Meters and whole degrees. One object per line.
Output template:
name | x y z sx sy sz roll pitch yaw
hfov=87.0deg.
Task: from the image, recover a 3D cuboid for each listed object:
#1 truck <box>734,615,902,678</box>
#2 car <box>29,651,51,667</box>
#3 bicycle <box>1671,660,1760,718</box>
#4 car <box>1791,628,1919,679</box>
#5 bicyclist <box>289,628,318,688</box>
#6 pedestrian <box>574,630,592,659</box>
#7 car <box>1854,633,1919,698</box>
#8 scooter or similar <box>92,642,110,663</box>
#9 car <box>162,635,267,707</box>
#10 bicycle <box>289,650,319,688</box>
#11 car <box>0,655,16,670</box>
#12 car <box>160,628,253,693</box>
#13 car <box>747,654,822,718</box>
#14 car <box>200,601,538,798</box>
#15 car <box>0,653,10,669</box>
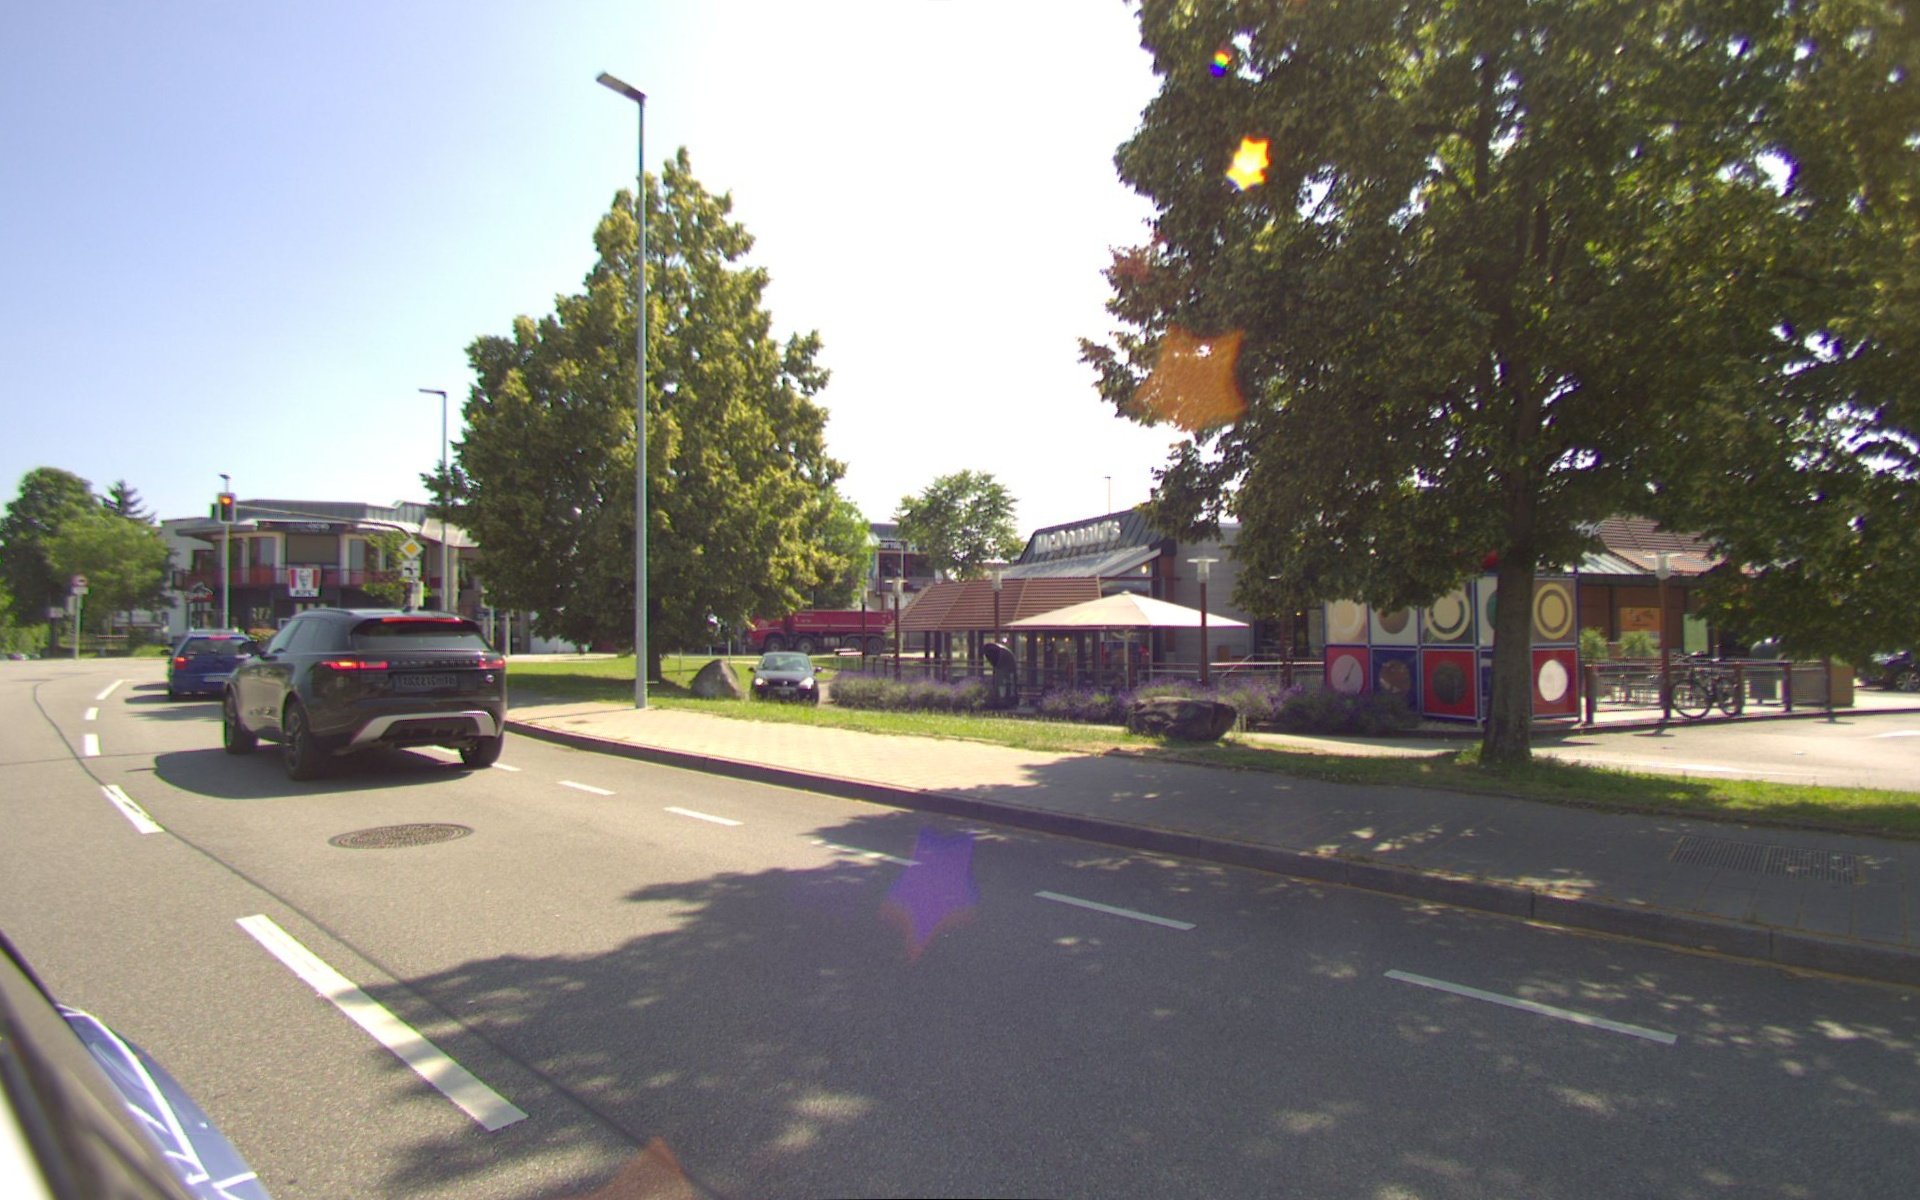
truck | -8.159 2.613 58.121 9.009 3.412 3.325 1 -3 -23
car | -111.890 7.128 123.076 1.647 1.741 4.007 -3 0 -39
bicycle | 13.583 1.593 18.193 1.826 1.000 0.309 1 -3 -20
car | 41.122 2.405 45.915 1.965 2.194 4.819 1 -3 -27
bicyclist | -20.126 1.762 31.047 0.700 1.802 0.811 2 -3 -33
pedestrian | -21.255 2.500 57.120 0.723 1.658 0.842 0 -3 -2
car | 26.971 1.743 26.980 4.327 1.697 1.759 -1 -3 27
scooter or similar | -46.860 2.871 55.213 0.420 1.132 1.456 1 -3 -28
car | -15.884 1.450 21.580 1.634 1.391 4.009 2 -3 -37
bicycle | -20.151 2.105 31.074 0.687 1.113 1.760 3 -4 -33
car | -102.836 6.698 108.982 1.647 1.544 4.005 1 -3 -42
car | -19.483 1.525 26.230 1.756 1.508 4.733 2 -3 -36
car | -4.662 2.255 27.374 1.836 1.564 4.195 0 -2 -8
car | -6.628 0.963 11.118 4.612 1.708 1.929 -2 -3 43
car | -98.812 6.311 103.820 1.647 1.544 4.007 -3 0 -39
